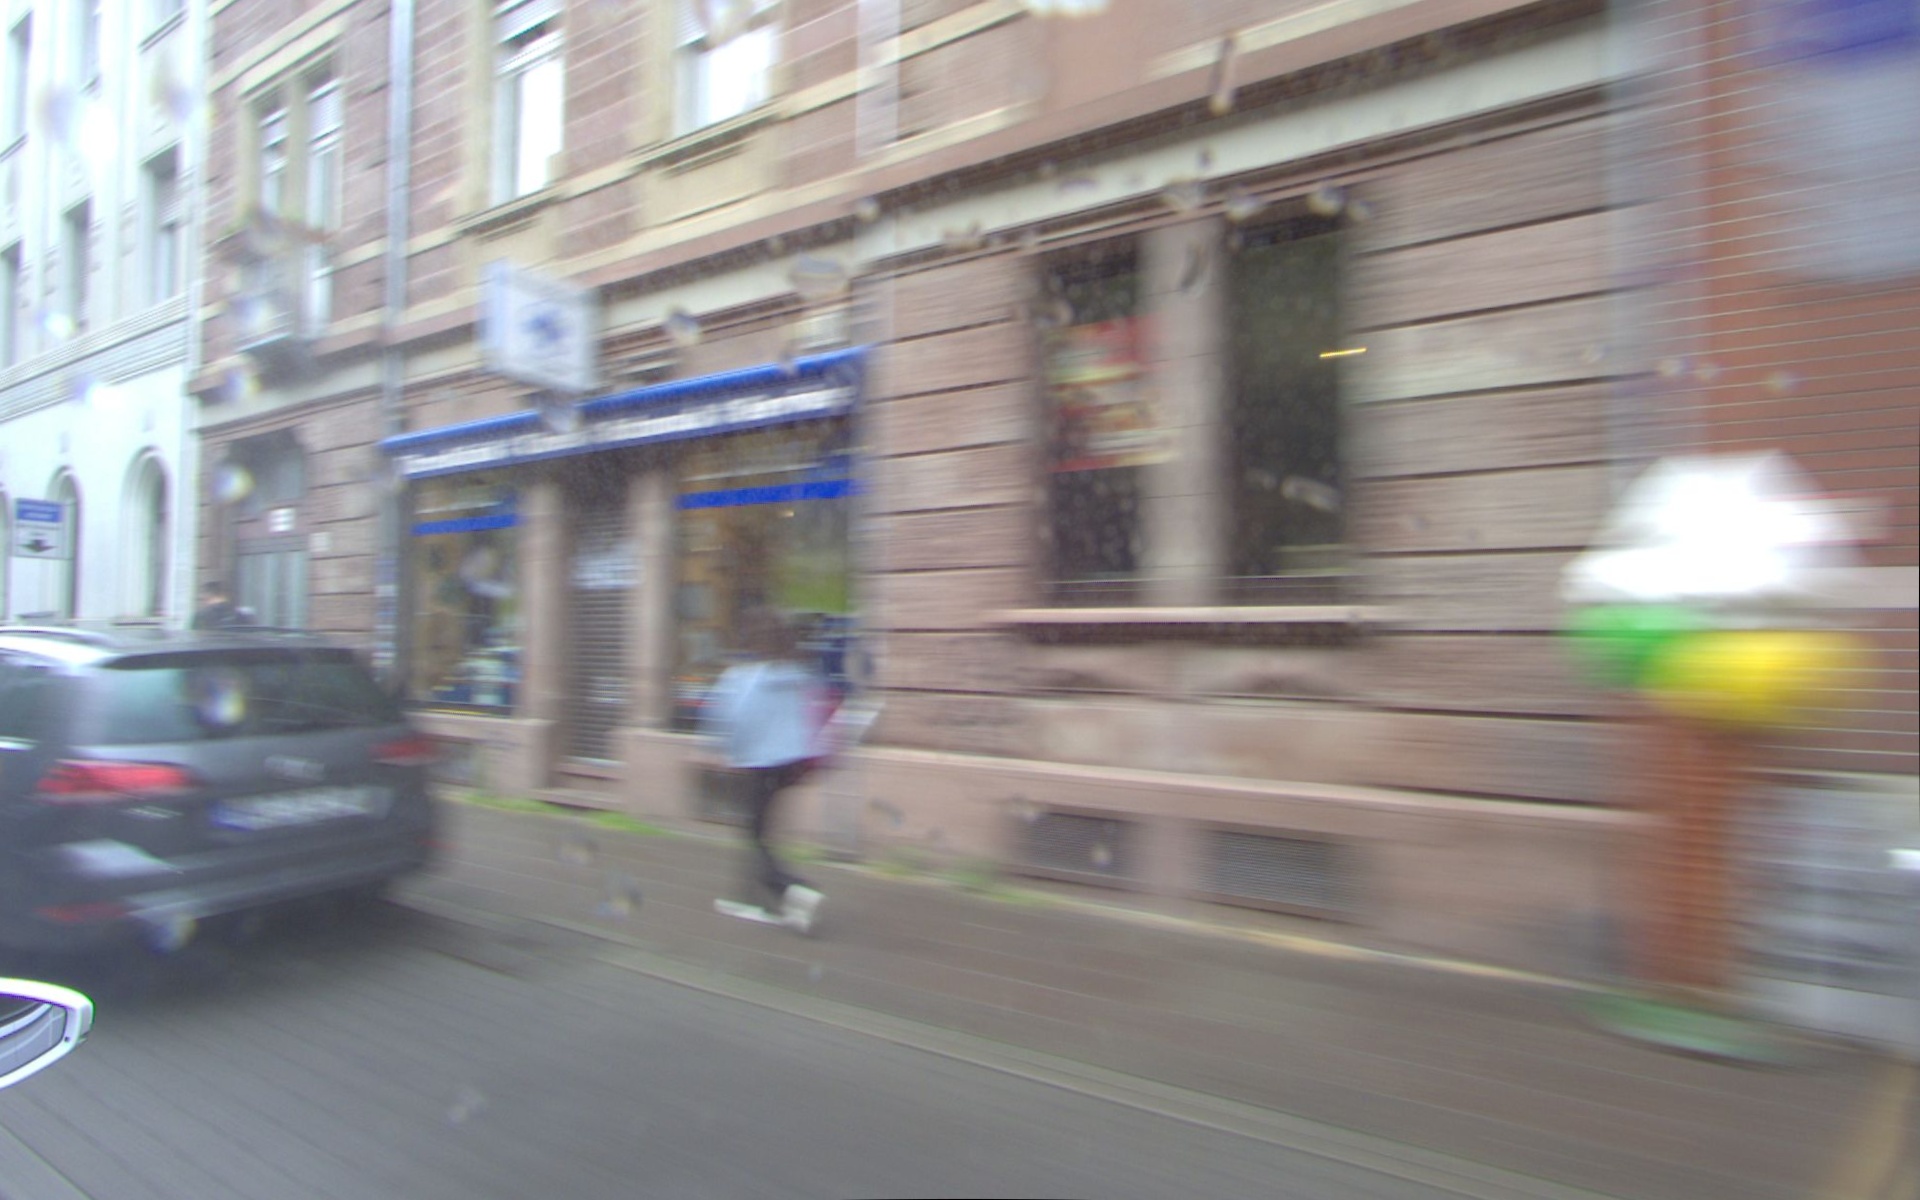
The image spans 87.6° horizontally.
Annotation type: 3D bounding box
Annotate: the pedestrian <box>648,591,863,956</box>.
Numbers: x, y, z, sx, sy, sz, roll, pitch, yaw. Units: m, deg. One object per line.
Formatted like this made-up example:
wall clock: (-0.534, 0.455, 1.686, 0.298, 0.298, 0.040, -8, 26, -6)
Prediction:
pedestrian: (-1.014, 0.791, 4.999, 0.798, 1.634, 0.677, 0, -1, 33)

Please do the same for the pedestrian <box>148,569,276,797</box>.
pedestrian: (-6.791, 0.742, 9.102, 0.799, 1.958, 0.677, -3, -3, 34)

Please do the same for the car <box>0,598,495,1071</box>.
car: (-4.419, 0.841, 5.105, 3.945, 1.565, 1.839, -1, -2, 31)
